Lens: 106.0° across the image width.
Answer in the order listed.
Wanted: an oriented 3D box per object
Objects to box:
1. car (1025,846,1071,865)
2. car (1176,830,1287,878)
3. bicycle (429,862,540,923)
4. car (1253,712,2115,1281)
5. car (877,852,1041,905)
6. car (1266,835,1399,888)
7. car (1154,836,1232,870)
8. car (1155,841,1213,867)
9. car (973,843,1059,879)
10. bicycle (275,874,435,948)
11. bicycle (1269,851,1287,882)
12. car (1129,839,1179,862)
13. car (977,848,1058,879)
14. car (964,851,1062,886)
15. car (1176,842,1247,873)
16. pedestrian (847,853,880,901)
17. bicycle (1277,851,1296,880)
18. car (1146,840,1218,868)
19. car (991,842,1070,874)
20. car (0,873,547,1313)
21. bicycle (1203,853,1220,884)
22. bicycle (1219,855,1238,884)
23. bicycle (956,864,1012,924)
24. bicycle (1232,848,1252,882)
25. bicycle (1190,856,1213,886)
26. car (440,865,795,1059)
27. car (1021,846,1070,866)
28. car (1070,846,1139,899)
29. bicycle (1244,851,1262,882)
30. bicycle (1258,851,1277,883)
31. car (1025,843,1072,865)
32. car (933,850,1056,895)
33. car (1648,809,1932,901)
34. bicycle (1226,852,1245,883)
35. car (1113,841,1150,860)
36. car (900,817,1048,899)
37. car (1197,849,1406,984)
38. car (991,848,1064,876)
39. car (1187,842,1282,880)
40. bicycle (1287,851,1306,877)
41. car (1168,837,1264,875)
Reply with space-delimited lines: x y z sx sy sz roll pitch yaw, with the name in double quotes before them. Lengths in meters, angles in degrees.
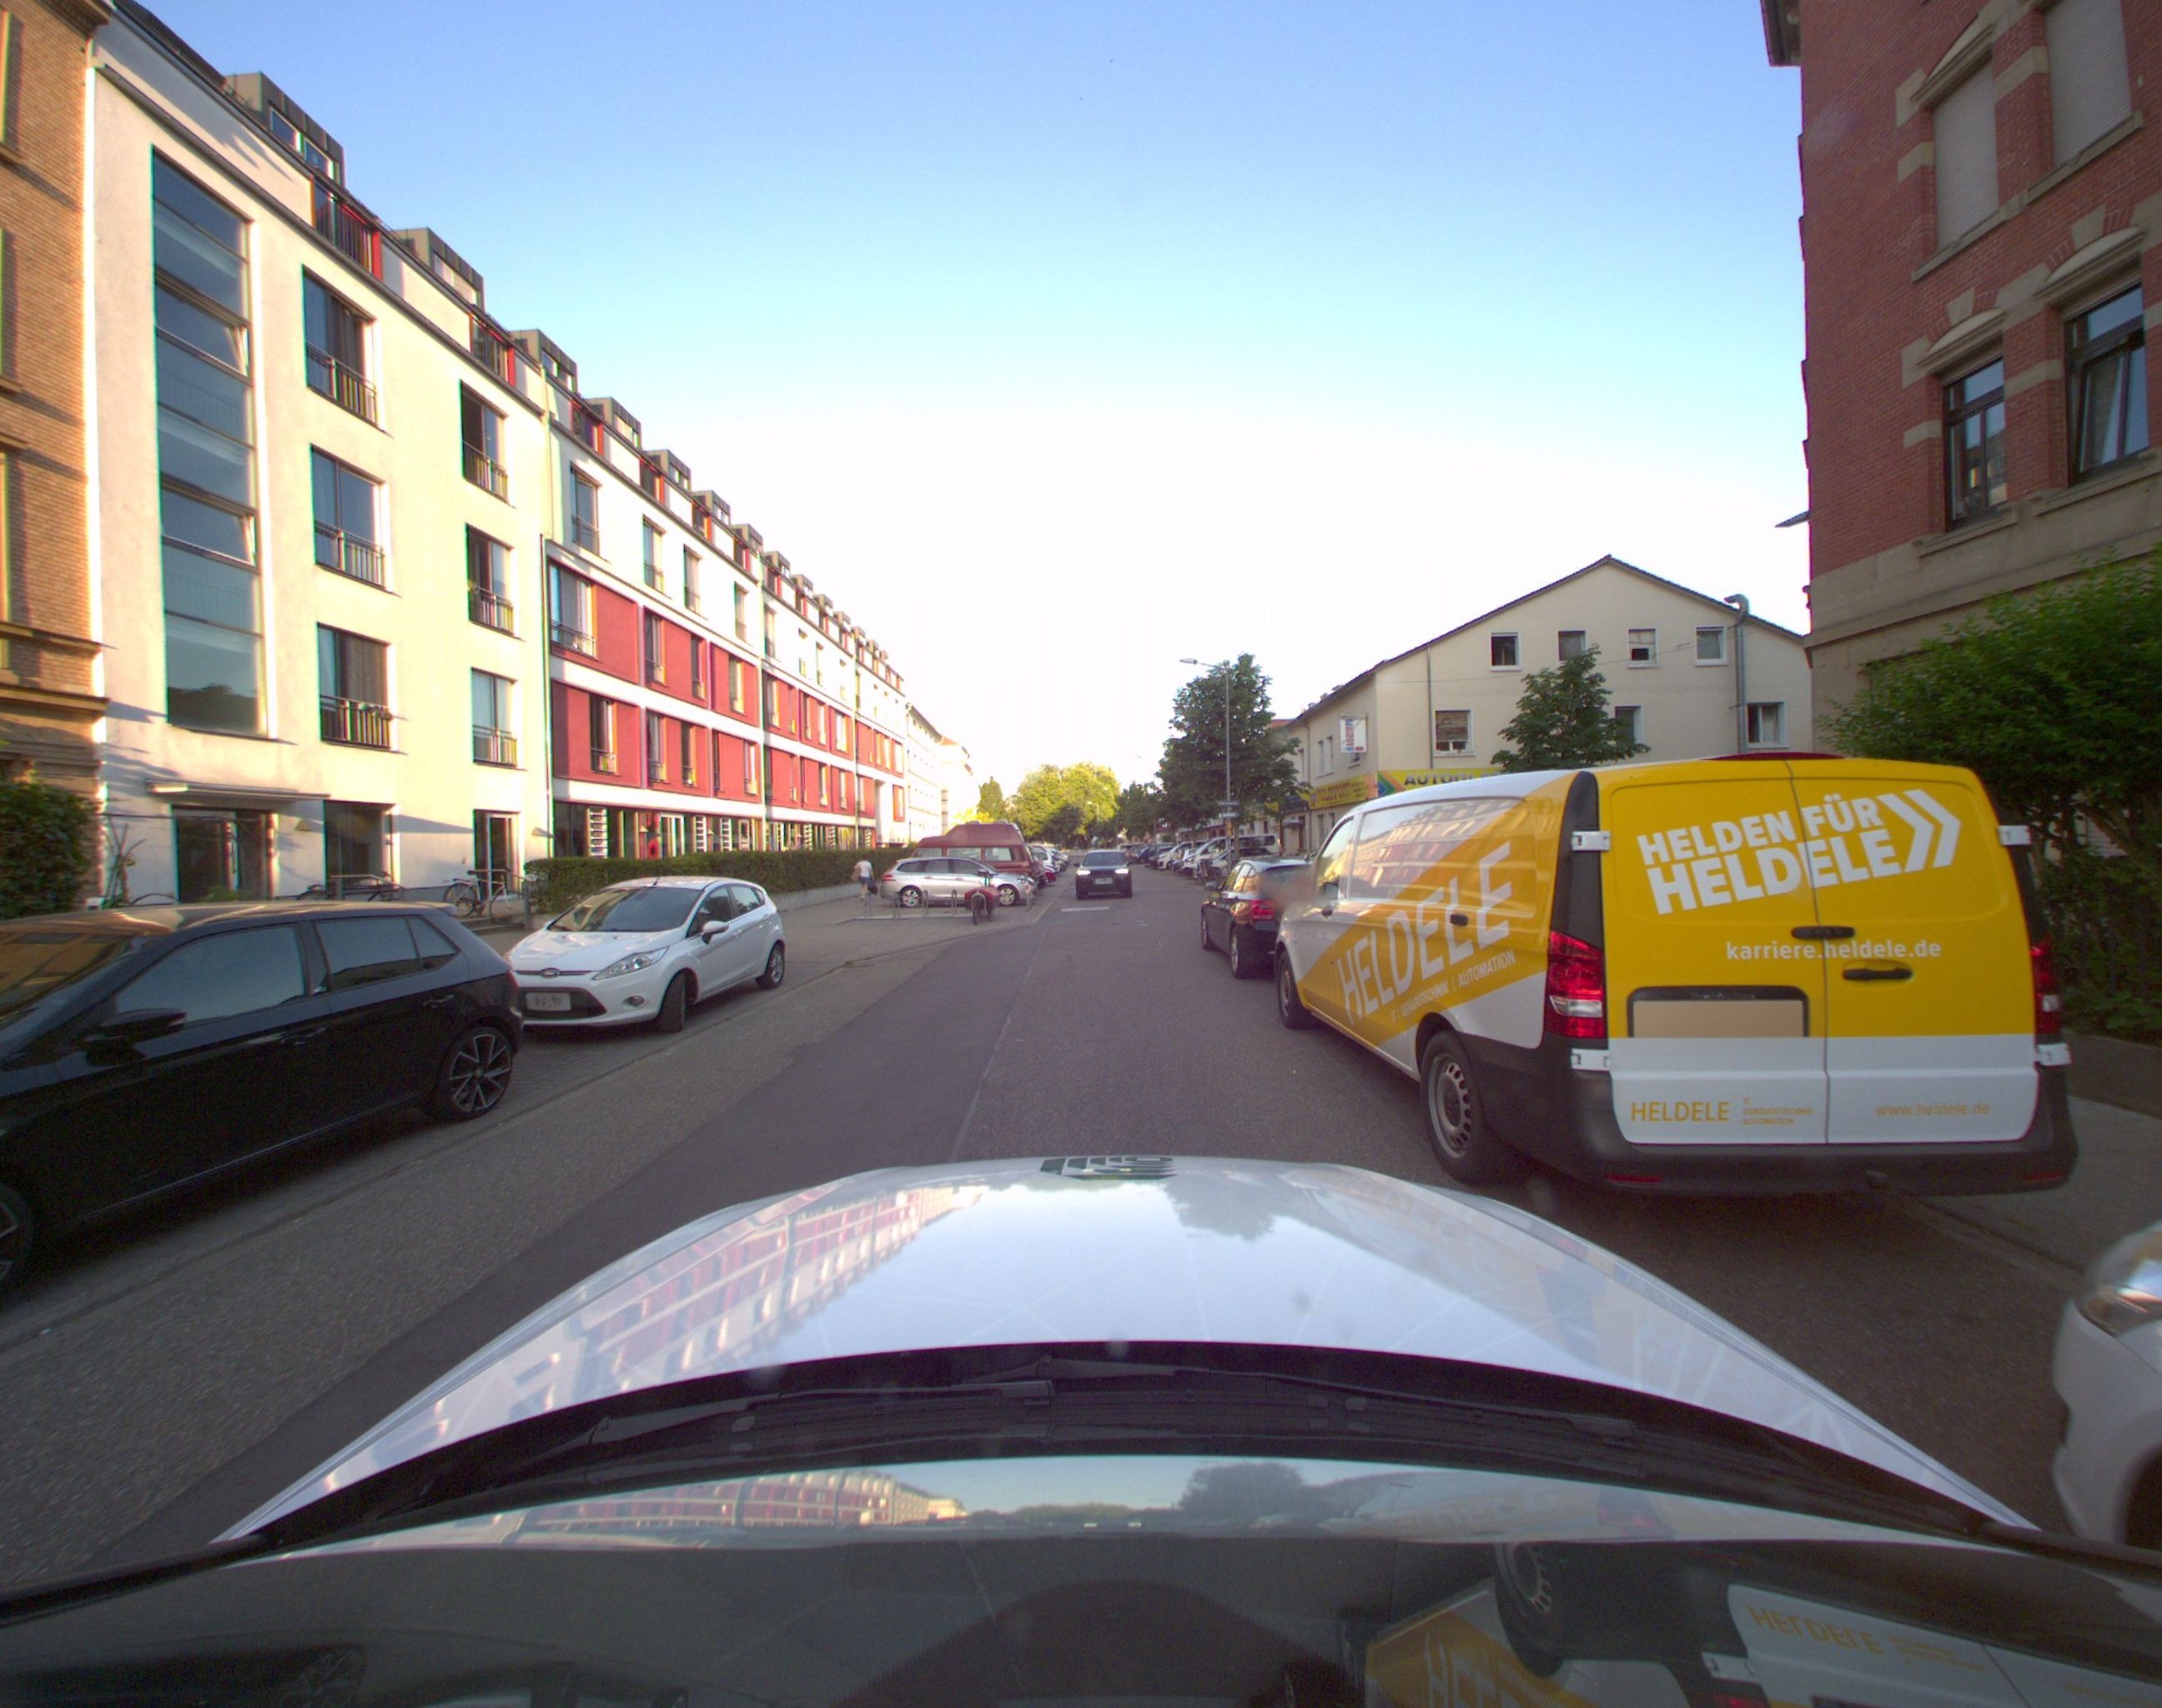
"car" -3.099 0.119 77.496 4.241 1.749 2.001 0 0 1
"car" 7.308 0.004 40.010 4.971 1.983 2.221 -4 0 1
"bicycle" -11.724 0.748 16.028 1.768 1.148 0.611 0 0 3
"car" 2.568 0.457 5.282 1.886 1.884 5.083 -1 0 1
"car" -3.497 0.702 24.056 4.604 1.460 1.879 0 0 -3
"car" 8.586 0.226 28.024 4.035 1.514 1.757 -3 2 2
"car" 7.570 -0.084 55.315 4.929 1.958 2.049 -4 0 -1
"car" 8.165 -0.005 65.021 4.304 1.804 1.810 -4 0 -1
"car" -3.324 0.352 42.235 4.241 1.836 2.001 0 0 1
"bicycle" -11.913 0.924 13.406 1.908 1.141 0.812 0 0 1
"bicycle" 7.951 0.482 32.885 0.351 1.200 1.482 -3 0 2
"car" 6.972 -0.341 77.618 4.470 1.911 1.685 -4 0 -4
"car" -3.448 0.512 44.711 4.241 1.660 2.001 0 0 1
"car" -3.037 0.643 36.809 4.193 1.489 1.850 0 0 1
"car" 7.647 0.182 47.987 3.897 1.526 1.940 -4 0 2
"pedestrian" -6.945 0.735 26.051 0.829 1.501 0.798 0 0 2
"bicycle" 8.312 0.458 32.960 0.351 1.143 1.482 -3 0 2
"car" 7.424 -0.022 60.124 4.929 1.689 2.076 -4 0 -1
"car" -3.182 0.246 51.619 4.833 2.021 1.907 0 0 1
"car" -4.843 0.941 4.080 1.697 1.534 3.845 -1 0 1
"bicycle" 5.280 0.576 33.098 0.384 1.200 2.018 -3 0 2
"bicycle" 5.992 0.619 33.120 0.384 1.114 2.018 -3 0 2
"bicycle" -2.178 0.873 18.737 0.804 1.221 2.867 0 0 3
"bicycle" 6.530 0.439 33.106 0.384 1.304 2.018 -3 0 2
"bicycle" 4.862 0.656 32.919 0.437 1.130 2.014 -3 0 -4
"car" -4.646 0.940 8.946 1.646 1.530 4.015 -1 0 -1
"car" -3.154 0.157 72.723 4.241 1.714 2.001 0 0 1
"car" 0.852 0.540 26.738 1.769 1.517 4.009 -3 0 8
"bicycle" 6.947 0.474 32.943 0.384 1.200 1.482 -3 0 2
"bicycle" 7.524 0.511 32.901 0.443 1.200 1.482 -3 0 2
"car" -3.188 -0.004 80.135 4.517 2.134 2.001 0 0 1
"car" -3.042 0.647 29.197 4.196 1.538 1.790 0 0 -1
"car" 14.714 0.029 17.077 4.305 1.672 1.878 -2 -1 -1
"bicycle" 6.272 0.519 33.101 0.384 1.200 2.018 -3 0 2
"car" 5.733 -0.377 93.239 3.960 1.911 2.047 -4 0 -4
"car" -3.415 0.114 26.631 4.493 2.584 2.001 0 0 2
"car" 2.671 0.663 10.869 1.715 1.424 4.254 0 1 1
"car" -3.164 0.482 49.064 4.241 1.652 1.888 0 0 1
"car" 6.979 0.290 37.229 3.908 1.451 1.767 -4 0 -2
"bicycle" 8.714 0.388 32.998 0.386 1.017 1.482 -3 0 2
"car" 7.418 0.109 45.163 4.925 1.742 2.050 -4 0 2
